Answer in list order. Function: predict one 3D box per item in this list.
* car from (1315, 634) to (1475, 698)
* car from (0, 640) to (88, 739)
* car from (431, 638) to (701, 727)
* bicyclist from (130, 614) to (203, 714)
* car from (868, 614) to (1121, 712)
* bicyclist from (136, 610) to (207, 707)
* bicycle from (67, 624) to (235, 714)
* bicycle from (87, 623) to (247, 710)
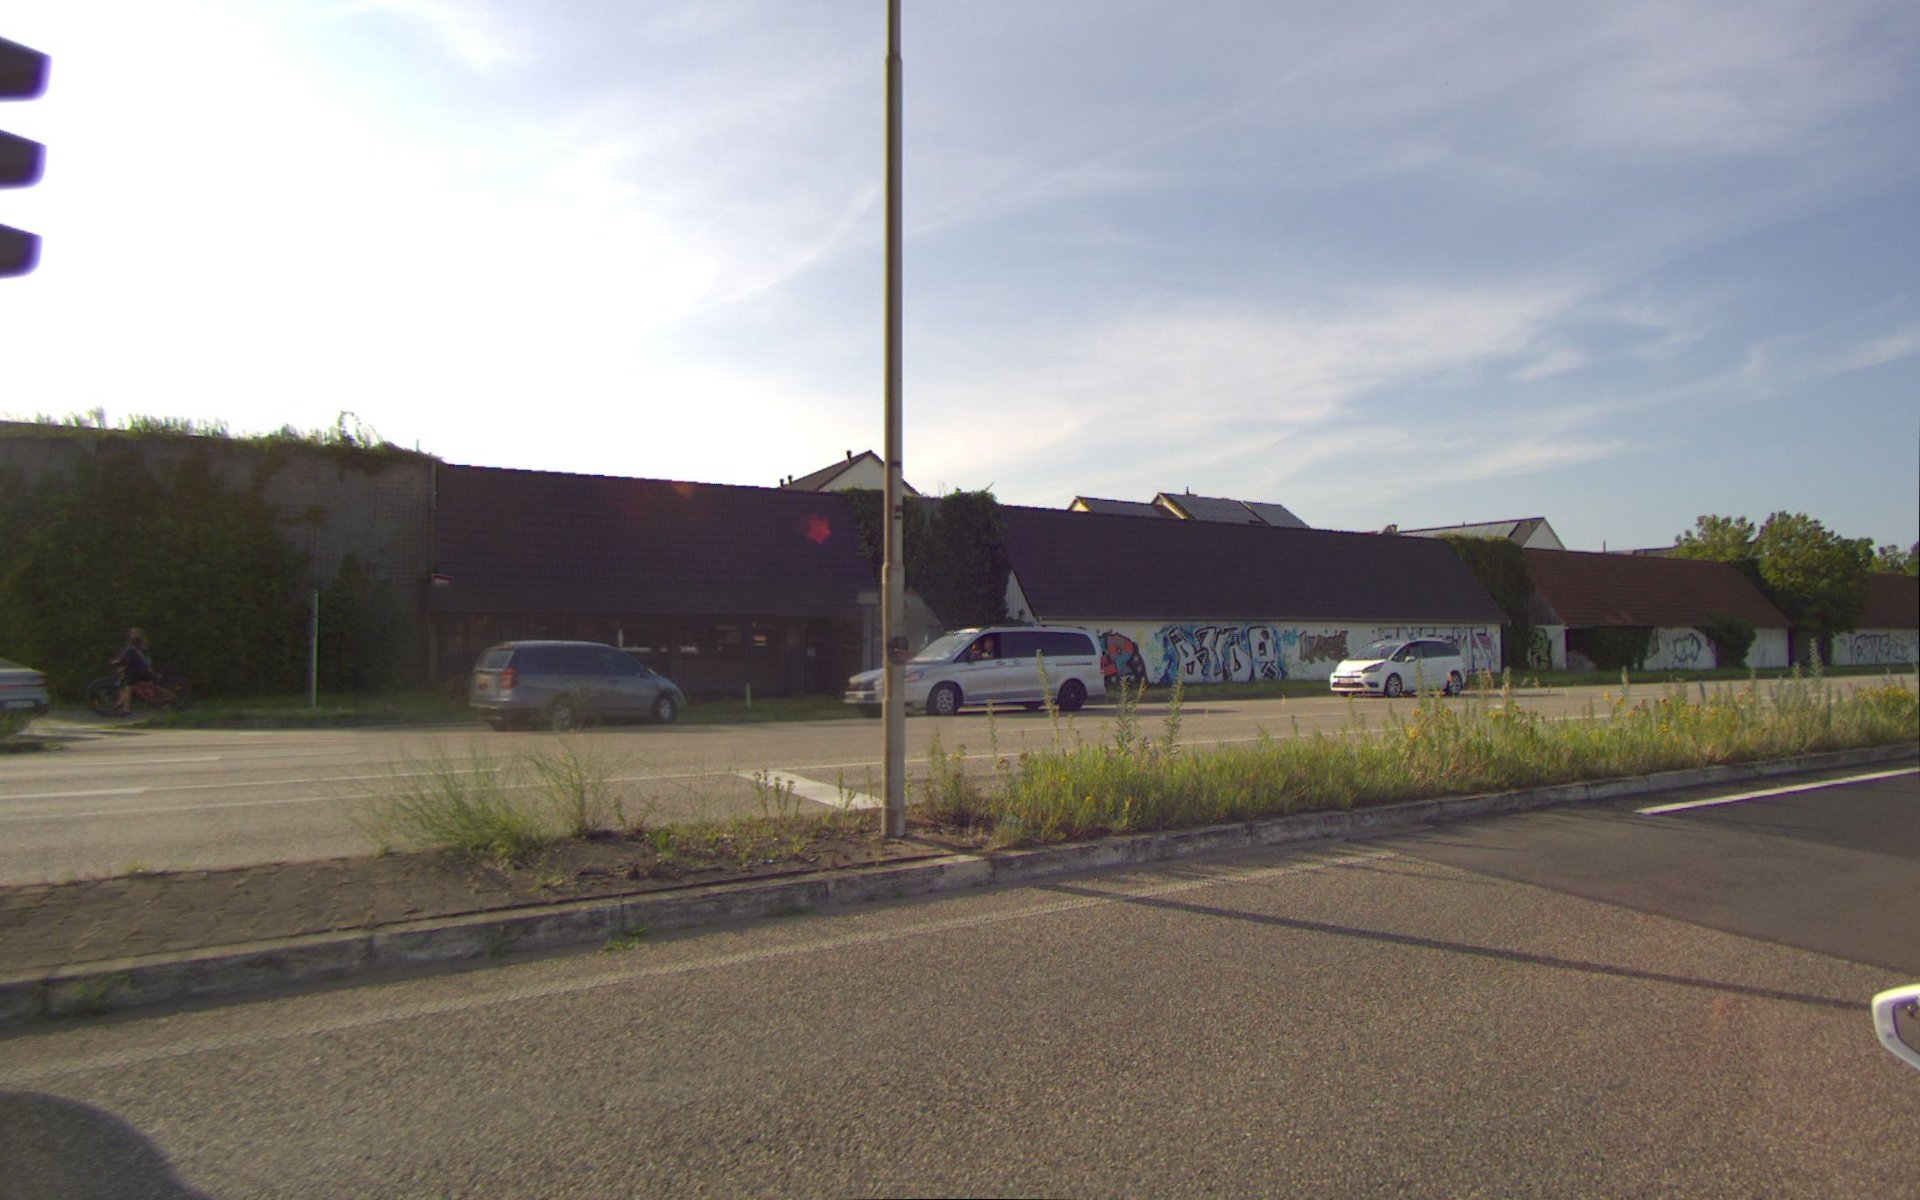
[{"bbox_3d":[12.709,1.942,29.294,4.700,1.729,1.829,2,-5,-30],"label":"car"},{"bbox_3d":[-17.706,1.416,16.700,4.667,1.517,1.956,2,-1,0],"label":"car"},{"bbox_3d":[-7.259,1.549,18.776,4.474,1.516,1.699,2,-5,-24],"label":"car"},{"bbox_3d":[-16.646,1.323,21.096,1.050,2.040,0.767,2,-1,-30],"label":"bicyclist"},{"bbox_3d":[0.811,1.422,22.271,5.385,1.952,1.901,2,-5,-28],"label":"car"},{"bbox_3d":[-17.091,1.265,21.807,1.050,2.040,0.767,2,-1,-30],"label":"bicyclist"},{"bbox_3d":[-16.803,1.424,20.964,2.576,1.772,0.750,2,-1,-30],"label":"bicycle"},{"bbox_3d":[-17.125,1.428,21.785,2.576,1.772,0.750,2,-1,-30],"label":"bicycle"}]
